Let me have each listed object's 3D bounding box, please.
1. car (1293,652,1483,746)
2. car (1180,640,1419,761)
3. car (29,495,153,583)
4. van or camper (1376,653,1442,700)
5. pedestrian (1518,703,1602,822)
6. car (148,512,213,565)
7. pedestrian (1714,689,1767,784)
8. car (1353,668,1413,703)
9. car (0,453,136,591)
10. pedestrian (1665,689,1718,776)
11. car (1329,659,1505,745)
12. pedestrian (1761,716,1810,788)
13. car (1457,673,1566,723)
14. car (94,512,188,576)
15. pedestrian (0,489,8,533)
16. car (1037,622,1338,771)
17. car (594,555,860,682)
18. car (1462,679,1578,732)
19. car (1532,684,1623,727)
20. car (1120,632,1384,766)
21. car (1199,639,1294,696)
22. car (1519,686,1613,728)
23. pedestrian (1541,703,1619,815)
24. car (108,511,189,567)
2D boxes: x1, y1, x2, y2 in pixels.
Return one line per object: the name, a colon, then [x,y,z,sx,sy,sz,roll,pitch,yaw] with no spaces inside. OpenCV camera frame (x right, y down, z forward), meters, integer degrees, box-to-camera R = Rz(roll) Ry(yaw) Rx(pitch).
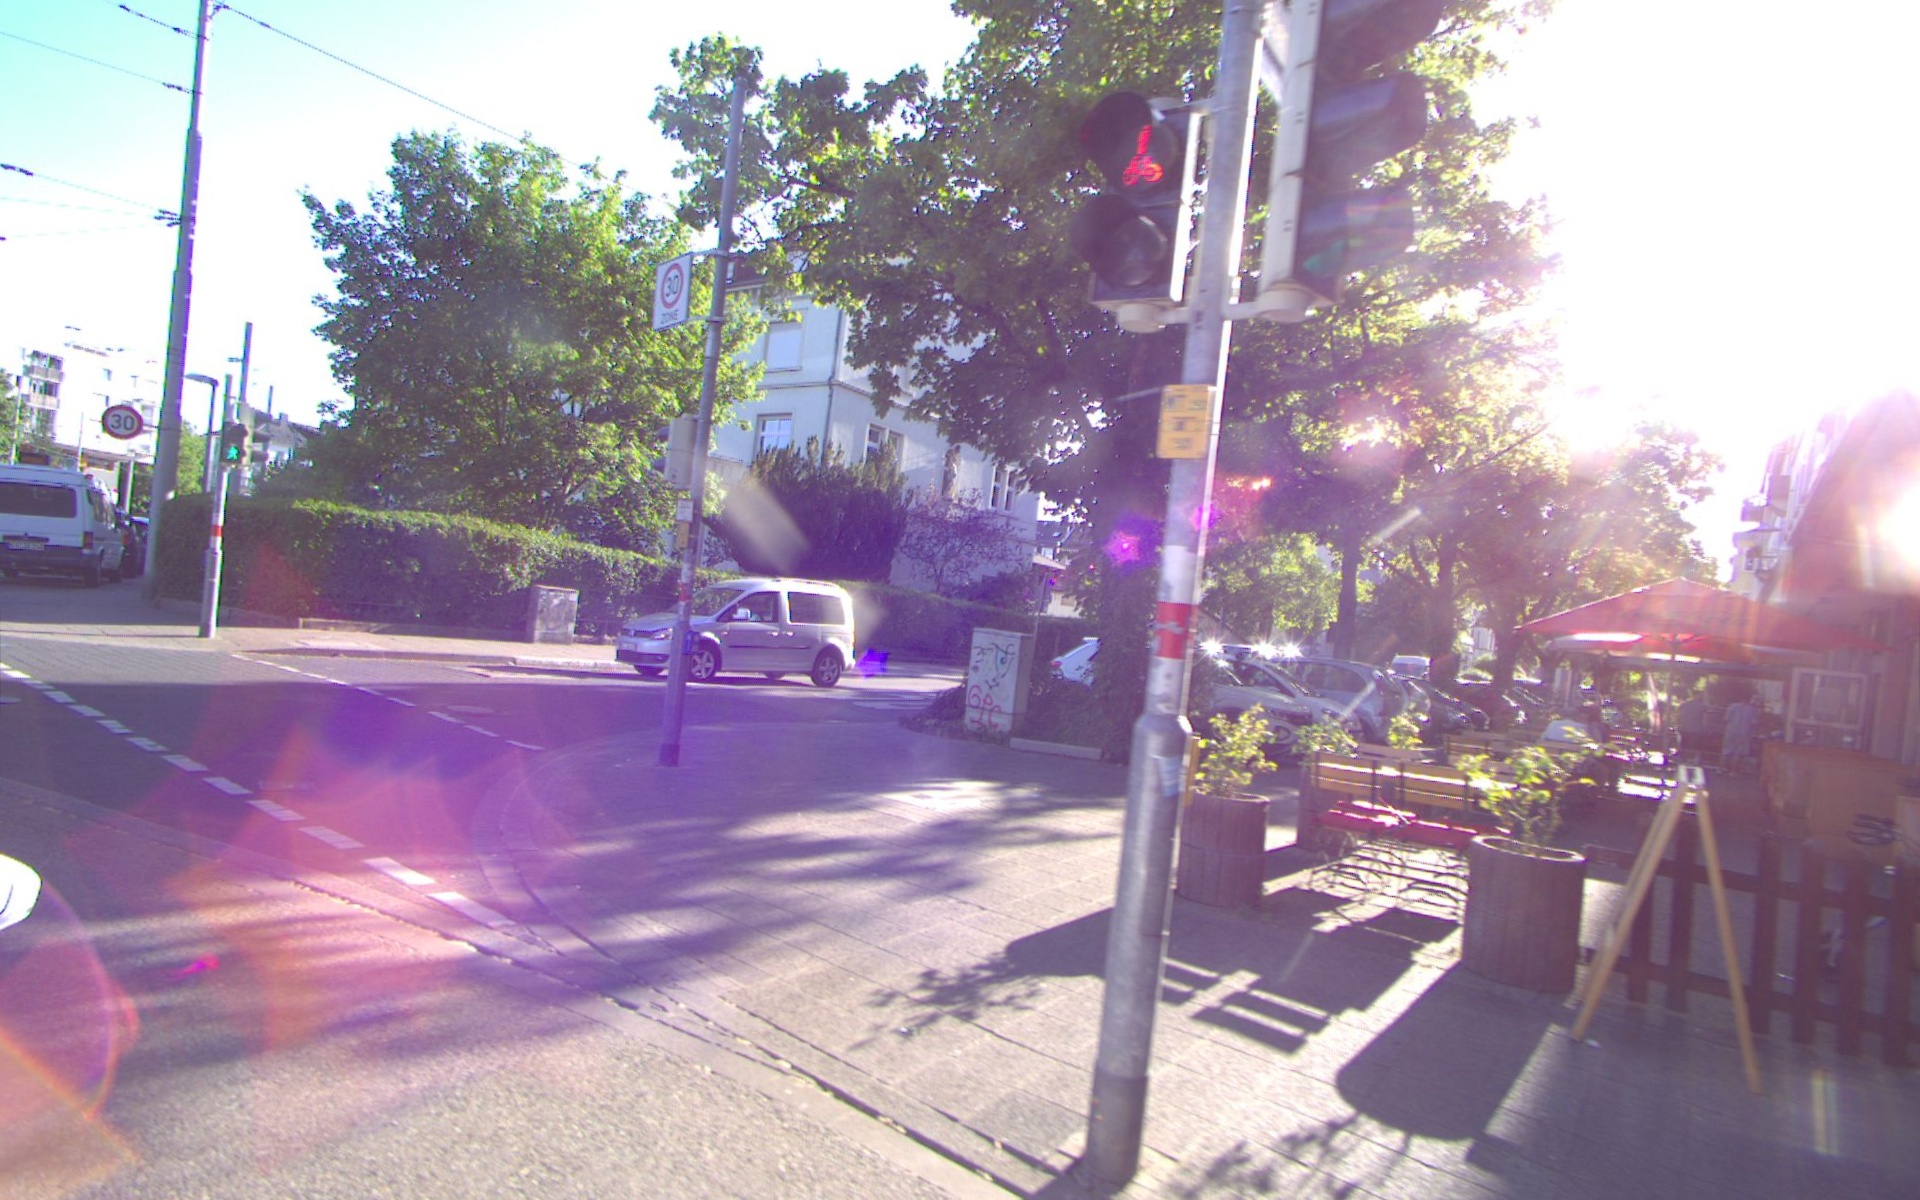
car: [10.262,2.330,24.204,3.809,1.637,1.712,6,-1,34]
car: [6.347,1.820,18.916,3.809,1.637,1.712,6,-1,34]
car: [-21.183,-1.493,24.680,1.790,1.784,3.854,7,-1,-35]
van or camper: [26.654,4.549,59.634,2.335,2.366,4.998,6,-1,37]
pedestrian: [6.947,1.849,11.638,0.650,1.233,0.738,7,0,36]
car: [-33.671,-2.653,43.553,1.789,1.950,3.904,7,0,-34]
pedestrian: [16.044,2.796,20.685,0.664,1.833,0.536,7,0,41]
car: [22.951,4.641,54.515,1.970,1.548,3.987,6,-1,37]
car: [-18.155,-1.505,20.051,2.077,2.304,4.268,8,-2,-34]
pedestrian: [15.615,2.818,21.483,0.713,1.729,0.536,7,0,42]
car: [11.862,2.606,26.159,3.809,1.637,1.712,6,-1,34]
pedestrian: [16.889,3.099,20.577,0.669,1.376,0.564,7,0,-41]
car: [23.268,4.116,42.488,3.809,1.498,1.712,6,-1,34]
car: [-23.708,-1.638,29.239,1.791,1.494,3.901,7,-1,-36]
pedestrian: [-39.844,-3.710,41.366,0.674,1.815,0.987,6,0,-33]
car: [3.397,1.383,15.272,3.971,1.600,1.706,6,-1,34]
car: [-3.908,0.387,17.469,1.781,1.834,4.172,3,-3,39]
car: [22.346,4.176,40.175,3.809,1.498,1.712,6,-1,34]
car: [31.795,5.395,51.839,3.809,1.609,1.712,6,-1,34]
car: [4.913,1.616,17.102,3.842,1.637,1.712,6,-1,34]
car: [11.167,2.660,38.996,1.970,1.837,4.313,6,-1,37]
car: [29.930,5.254,49.724,3.809,1.498,1.712,6,-1,34]
pedestrian: [7.610,1.929,12.339,0.650,1.233,0.738,7,0,36]
car: [-26.669,-2.018,33.157,1.791,1.494,3.901,7,-1,-36]
